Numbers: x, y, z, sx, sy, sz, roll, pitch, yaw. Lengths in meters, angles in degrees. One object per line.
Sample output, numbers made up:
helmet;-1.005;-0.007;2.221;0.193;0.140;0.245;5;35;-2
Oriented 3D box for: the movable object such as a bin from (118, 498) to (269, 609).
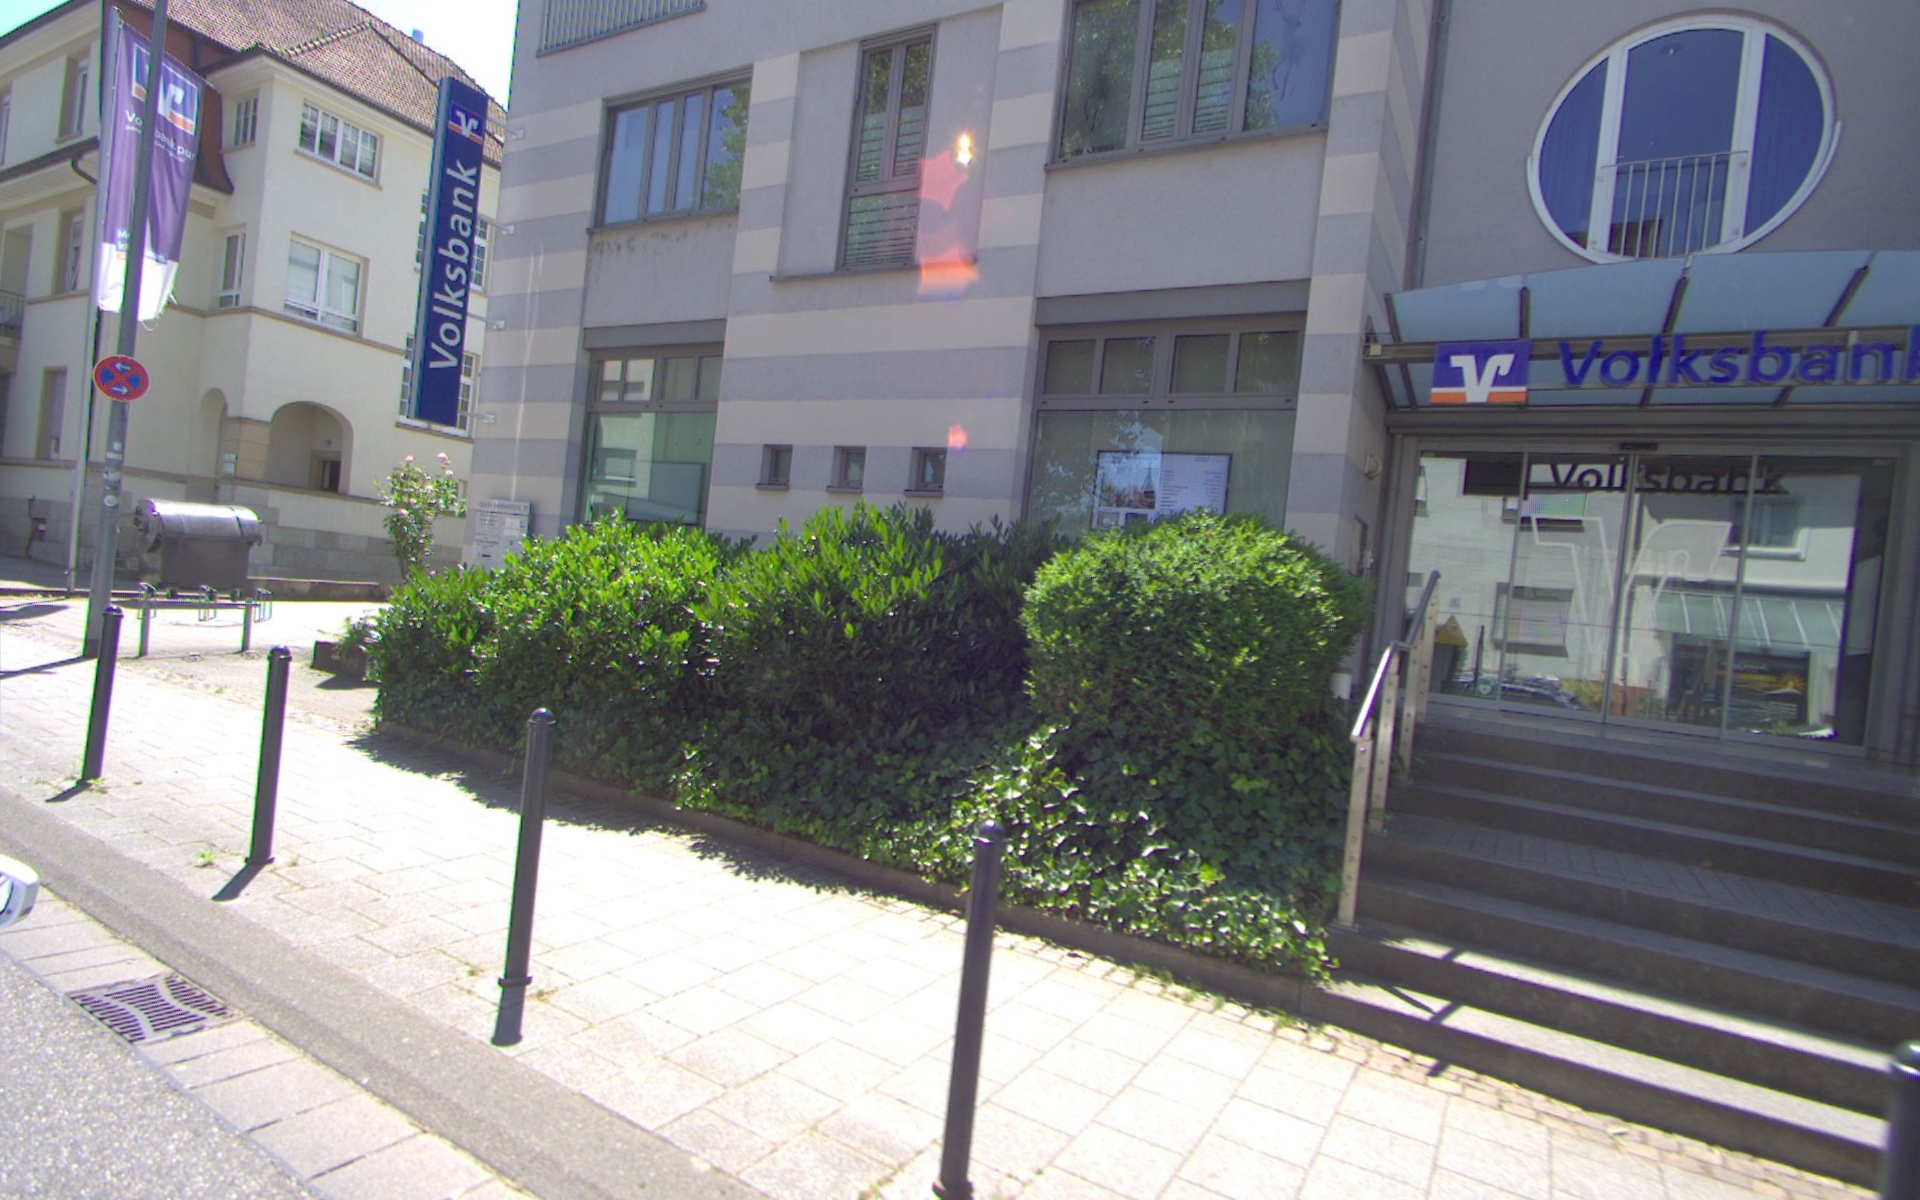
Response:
movable object such as a bin;-11.352;-0.674;14.917;1.358;1.479;1.367;6;3;32
